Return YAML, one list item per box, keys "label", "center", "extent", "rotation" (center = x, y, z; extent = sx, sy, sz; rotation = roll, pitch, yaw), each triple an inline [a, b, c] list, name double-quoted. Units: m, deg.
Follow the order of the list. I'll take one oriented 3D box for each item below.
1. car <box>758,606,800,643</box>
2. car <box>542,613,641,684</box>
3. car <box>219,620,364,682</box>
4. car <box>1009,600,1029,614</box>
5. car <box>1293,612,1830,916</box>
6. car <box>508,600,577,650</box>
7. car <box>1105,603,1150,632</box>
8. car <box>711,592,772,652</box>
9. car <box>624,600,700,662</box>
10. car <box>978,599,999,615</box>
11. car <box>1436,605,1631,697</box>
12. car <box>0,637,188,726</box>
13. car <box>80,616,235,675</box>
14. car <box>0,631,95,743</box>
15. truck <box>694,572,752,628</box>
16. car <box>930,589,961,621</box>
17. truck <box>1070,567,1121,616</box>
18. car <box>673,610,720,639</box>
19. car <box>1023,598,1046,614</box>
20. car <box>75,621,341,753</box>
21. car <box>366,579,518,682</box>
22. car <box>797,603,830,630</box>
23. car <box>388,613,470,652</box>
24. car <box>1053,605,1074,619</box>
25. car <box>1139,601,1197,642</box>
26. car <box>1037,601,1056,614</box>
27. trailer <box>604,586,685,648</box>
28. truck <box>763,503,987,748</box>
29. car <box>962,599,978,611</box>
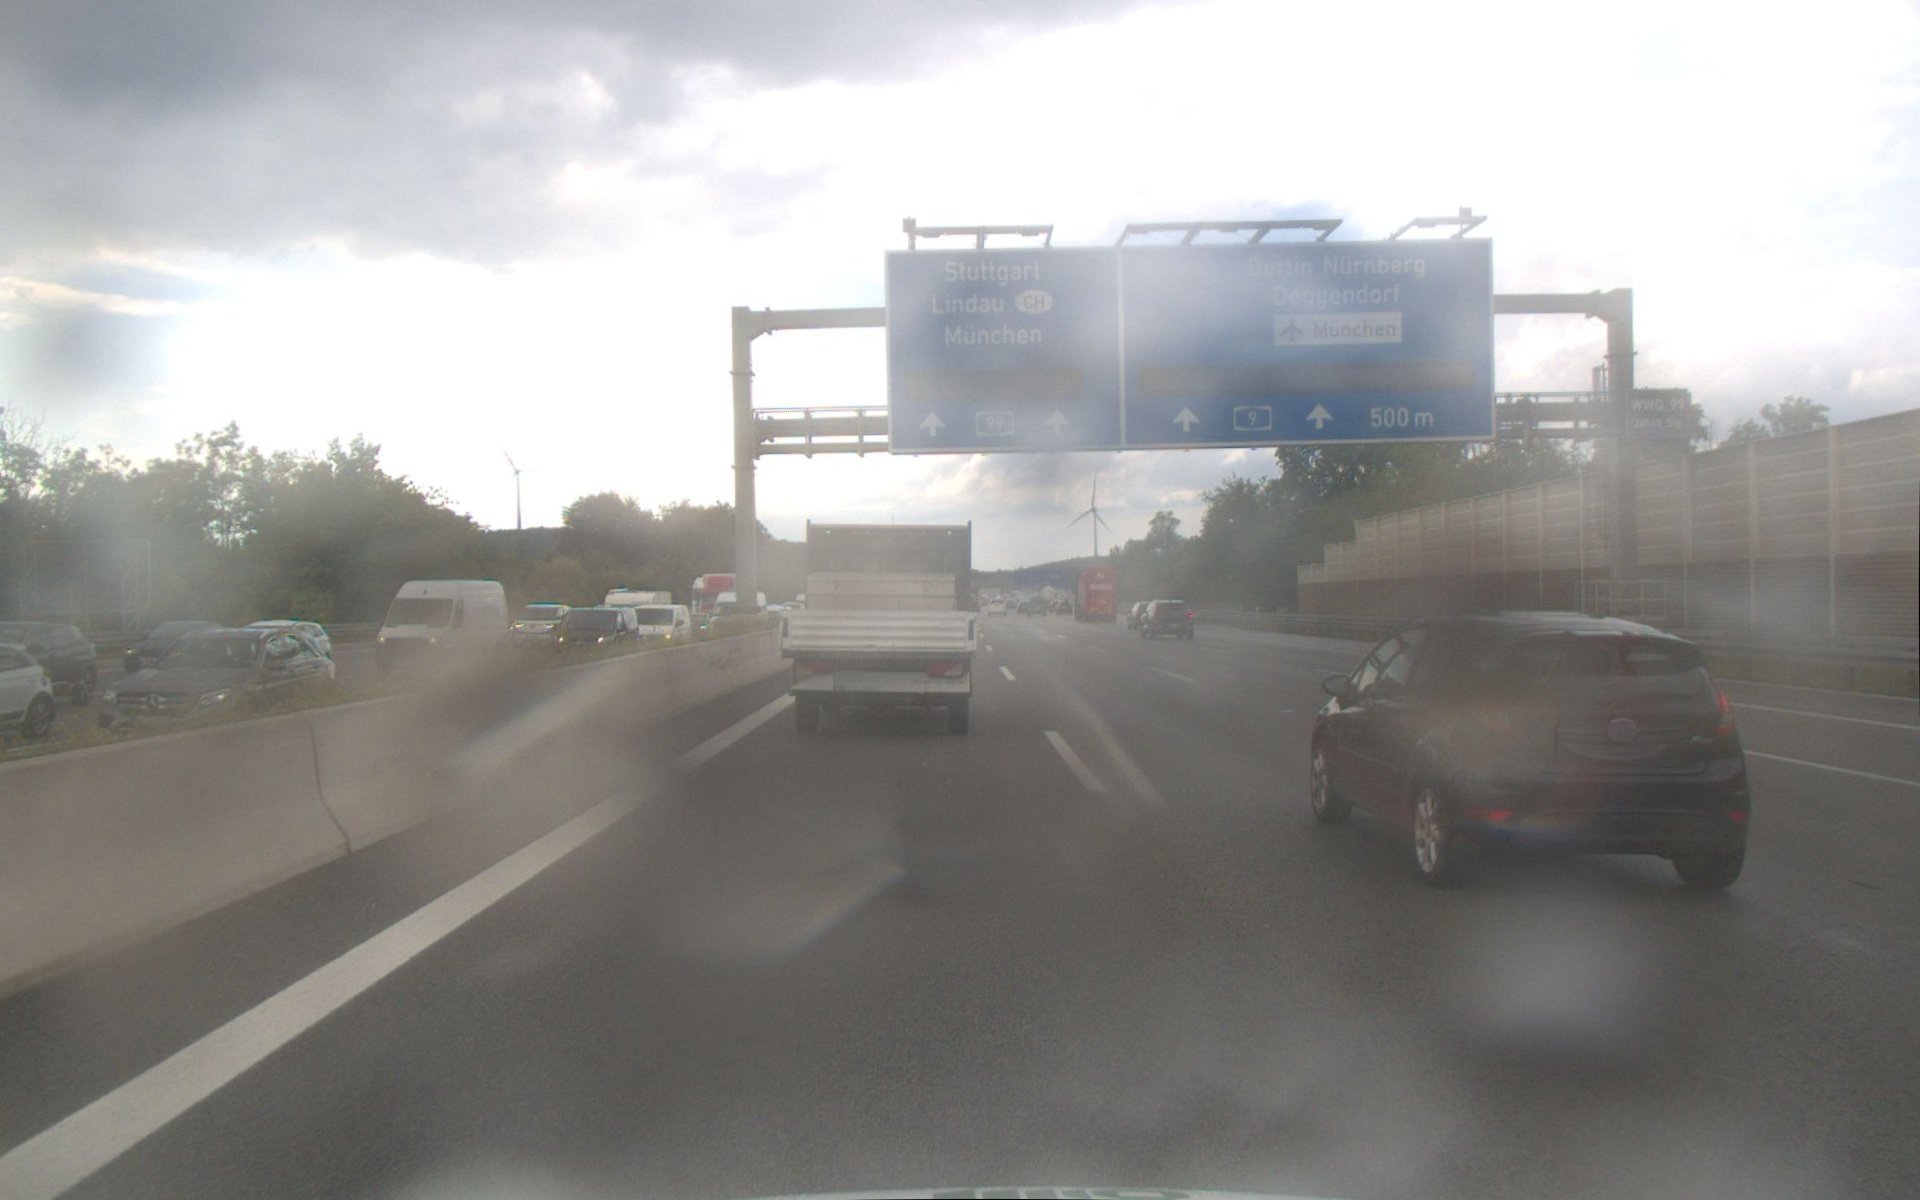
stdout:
- label: "car"
  center: [-10.025, 1.328, 91.972]
  extent: [1.781, 1.986, 5.222]
  rotation: [-1, 0, -1]
- label: "car"
  center: [-10.871, 1.381, 49.144]
  extent: [1.781, 1.938, 5.423]
  rotation: [-1, 0, -1]
- label: "car"
  center: [-17.908, 1.321, 44.577]
  extent: [1.942, 1.520, 4.912]
  rotation: [-1, 0, -1]
- label: "car"
  center: [6.875, 0.781, 192.215]
  extent: [1.929, 1.588, 4.429]
  rotation: [-1, 0, -4]
- label: "car"
  center: [3.309, 0.799, 10.051]
  extent: [1.682, 1.442, 4.277]
  rotation: [0, 0, -1]
- label: "car"
  center: [-18.399, 1.066, 73.142]
  extent: [1.942, 2.114, 4.477]
  rotation: [-1, 0, -1]
- label: "car"
  center: [9.343, 0.954, 92.474]
  extent: [1.845, 1.588, 4.431]
  rotation: [-1, 0, -3]
- label: "car"
  center: [-10.317, 1.015, 78.769]
  extent: [1.983, 2.725, 7.310]
  rotation: [-1, 0, -1]
- label: "car"
  center: [-10.604, 1.072, 59.218]
  extent: [1.781, 2.114, 5.374]
  rotation: [-1, 0, -1]
- label: "car"
  center: [2.892, 0.719, 168.232]
  extent: [1.928, 1.588, 4.430]
  rotation: [-1, 0, -3]
- label: "car"
  center: [9.753, 0.824, 28.485]
  extent: [1.910, 1.443, 4.232]
  rotation: [0, 0, 0]
- label: "car"
  center: [-17.323, 1.538, 32.597]
  extent: [1.942, 1.520, 4.912]
  rotation: [-1, 0, -1]
- label: "car"
  center: [-22.204, 1.222, 45.986]
  extent: [1.942, 1.520, 4.912]
  rotation: [-1, 0, -1]
- label: "car"
  center: [-14.556, 1.266, 23.813]
  extent: [1.688, 1.520, 4.911]
  rotation: [1, 0, -2]
- label: "truck"
  center: [-18.326, 0.022, 128.797]
  extent: [2.740, 4.184, 12.294]
  rotation: [-1, 0, 0]
- label: "car"
  center: [-0.768, 0.226, 90.331]
  extent: [1.682, 1.652, 4.278]
  rotation: [0, 1, 0]
- label: "truck"
  center: [10.800, -0.707, 133.156]
  extent: [3.088, 3.664, 12.699]
  rotation: [1, 1, 0]
- label: "car"
  center: [-14.221, 1.312, 89.517]
  extent: [1.781, 1.449, 4.478]
  rotation: [1, 0, 0]
- label: "car"
  center: [7.637, 0.636, 169.467]
  extent: [1.928, 1.588, 4.430]
  rotation: [-1, 0, -3]
- label: "car"
  center: [-10.735, 1.169, 24.052]
  extent: [1.688, 1.631, 4.911]
  rotation: [1, 0, -2]
- label: "car"
  center: [-14.737, 0.818, 47.647]
  extent: [2.007, 2.699, 7.734]
  rotation: [-1, 0, -1]
- label: "car"
  center: [-10.430, 1.164, 117.926]
  extent: [1.855, 1.832, 5.841]
  rotation: [-1, 0, -1]
- label: "car"
  center: [-21.624, 1.306, 67.557]
  extent: [1.942, 1.520, 4.477]
  rotation: [-1, 0, -1]
- label: "car"
  center: [11.815, 1.326, 189.643]
  extent: [1.928, 1.588, 4.430]
  rotation: [-1, 0, -3]
- label: "car"
  center: [8.386, 0.843, 67.008]
  extent: [1.844, 1.569, 4.433]
  rotation: [-1, 0, 0]
- label: "car"
  center: [11.120, 0.968, 213.068]
  extent: [1.928, 1.588, 4.430]
  rotation: [-1, 0, -3]
- label: "trailer"
  center: [-14.401, 0.740, 75.952]
  extent: [2.293, 2.699, 7.183]
  rotation: [-1, 0, 0]
- label: "truck"
  center: [-0.910, 0.206, 20.472]
  extent: [2.260, 2.482, 7.148]
  rotation: [0, 1, -1]
- label: "car"
  center: [1.372, 0.645, 221.860]
  extent: [1.928, 1.588, 4.431]
  rotation: [-1, 0, -3]
